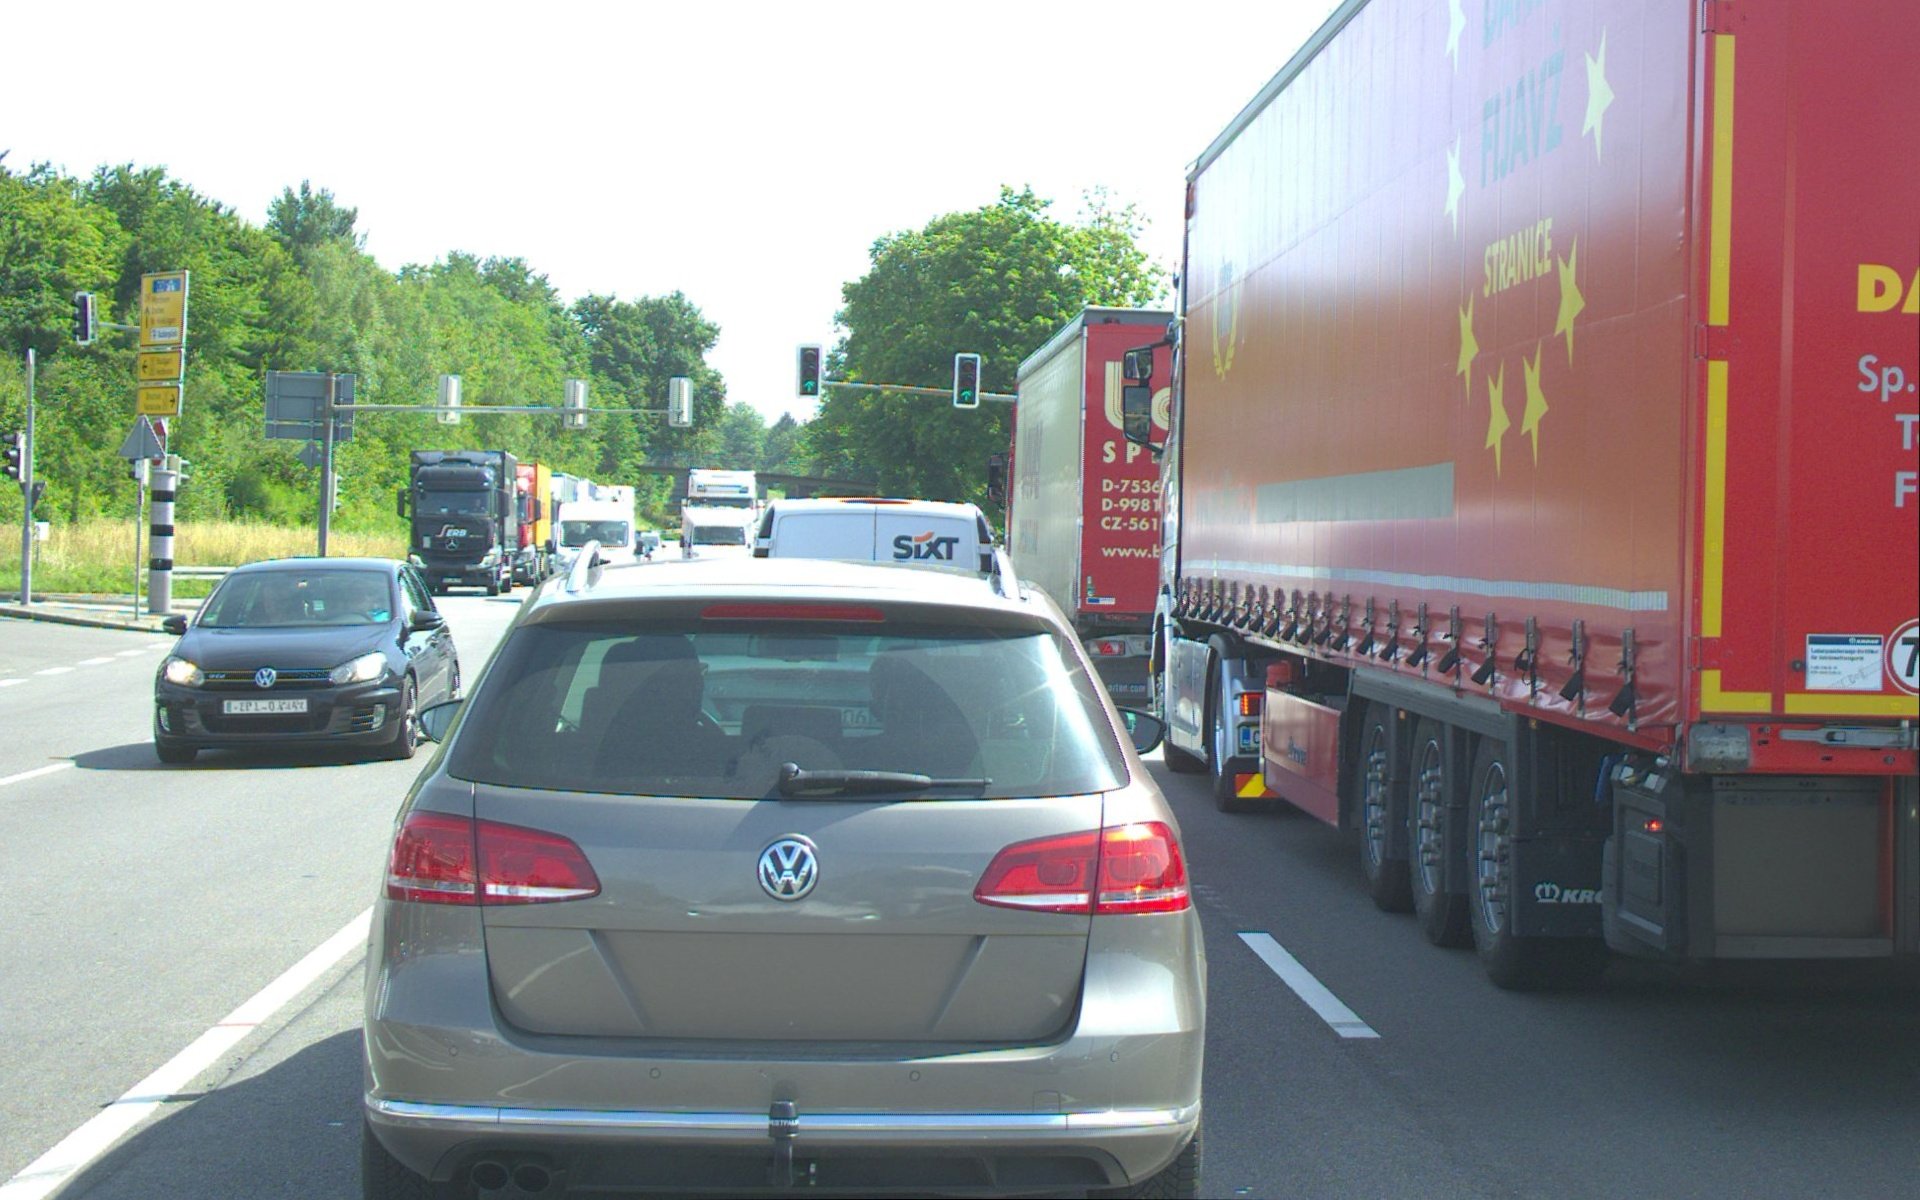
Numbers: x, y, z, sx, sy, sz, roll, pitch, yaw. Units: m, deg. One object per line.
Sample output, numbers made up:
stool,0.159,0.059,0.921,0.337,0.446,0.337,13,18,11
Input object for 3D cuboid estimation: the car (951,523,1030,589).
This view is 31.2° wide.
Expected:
car,0.714,-1.042,82.975,1.726,1.514,3.312,2,0,-2

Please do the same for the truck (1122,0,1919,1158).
truck,2.963,-0.861,16.915,2.957,4.255,16.586,1,1,-2

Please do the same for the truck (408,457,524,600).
truck,-13.547,-1.961,94.681,2.812,3.773,6.991,-1,1,-6

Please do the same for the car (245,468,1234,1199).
car,-0.357,0.559,7.987,1.790,1.633,3.503,0,1,2

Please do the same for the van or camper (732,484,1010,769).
van or camper,-0.679,0.145,25.305,1.852,1.899,3.785,1,1,-2

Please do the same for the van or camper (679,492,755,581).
van or camper,-8.049,-2.065,114.260,2.224,2.831,5.711,1,0,-2

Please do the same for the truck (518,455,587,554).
truck,-16.056,-3.754,135.826,2.532,3.773,6.991,-1,1,-6

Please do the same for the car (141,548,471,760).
car,-4.691,0.335,25.159,1.666,1.404,3.926,-1,1,0

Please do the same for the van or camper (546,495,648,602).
van or camper,-8.958,-1.287,85.111,2.173,2.542,4.171,1,1,-2

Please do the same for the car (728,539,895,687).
car,-1.598,0.126,37.824,1.727,1.514,3.312,1,0,-1

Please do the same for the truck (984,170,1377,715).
truck,2.196,-1.677,41.795,3.062,5.203,17.009,1,1,-2

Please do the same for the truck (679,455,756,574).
truck,-9.040,-3.189,128.957,2.552,4.292,7.596,0,1,-2

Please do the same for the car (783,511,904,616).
car,-1.758,-0.555,52.654,1.727,1.514,3.312,1,0,0
